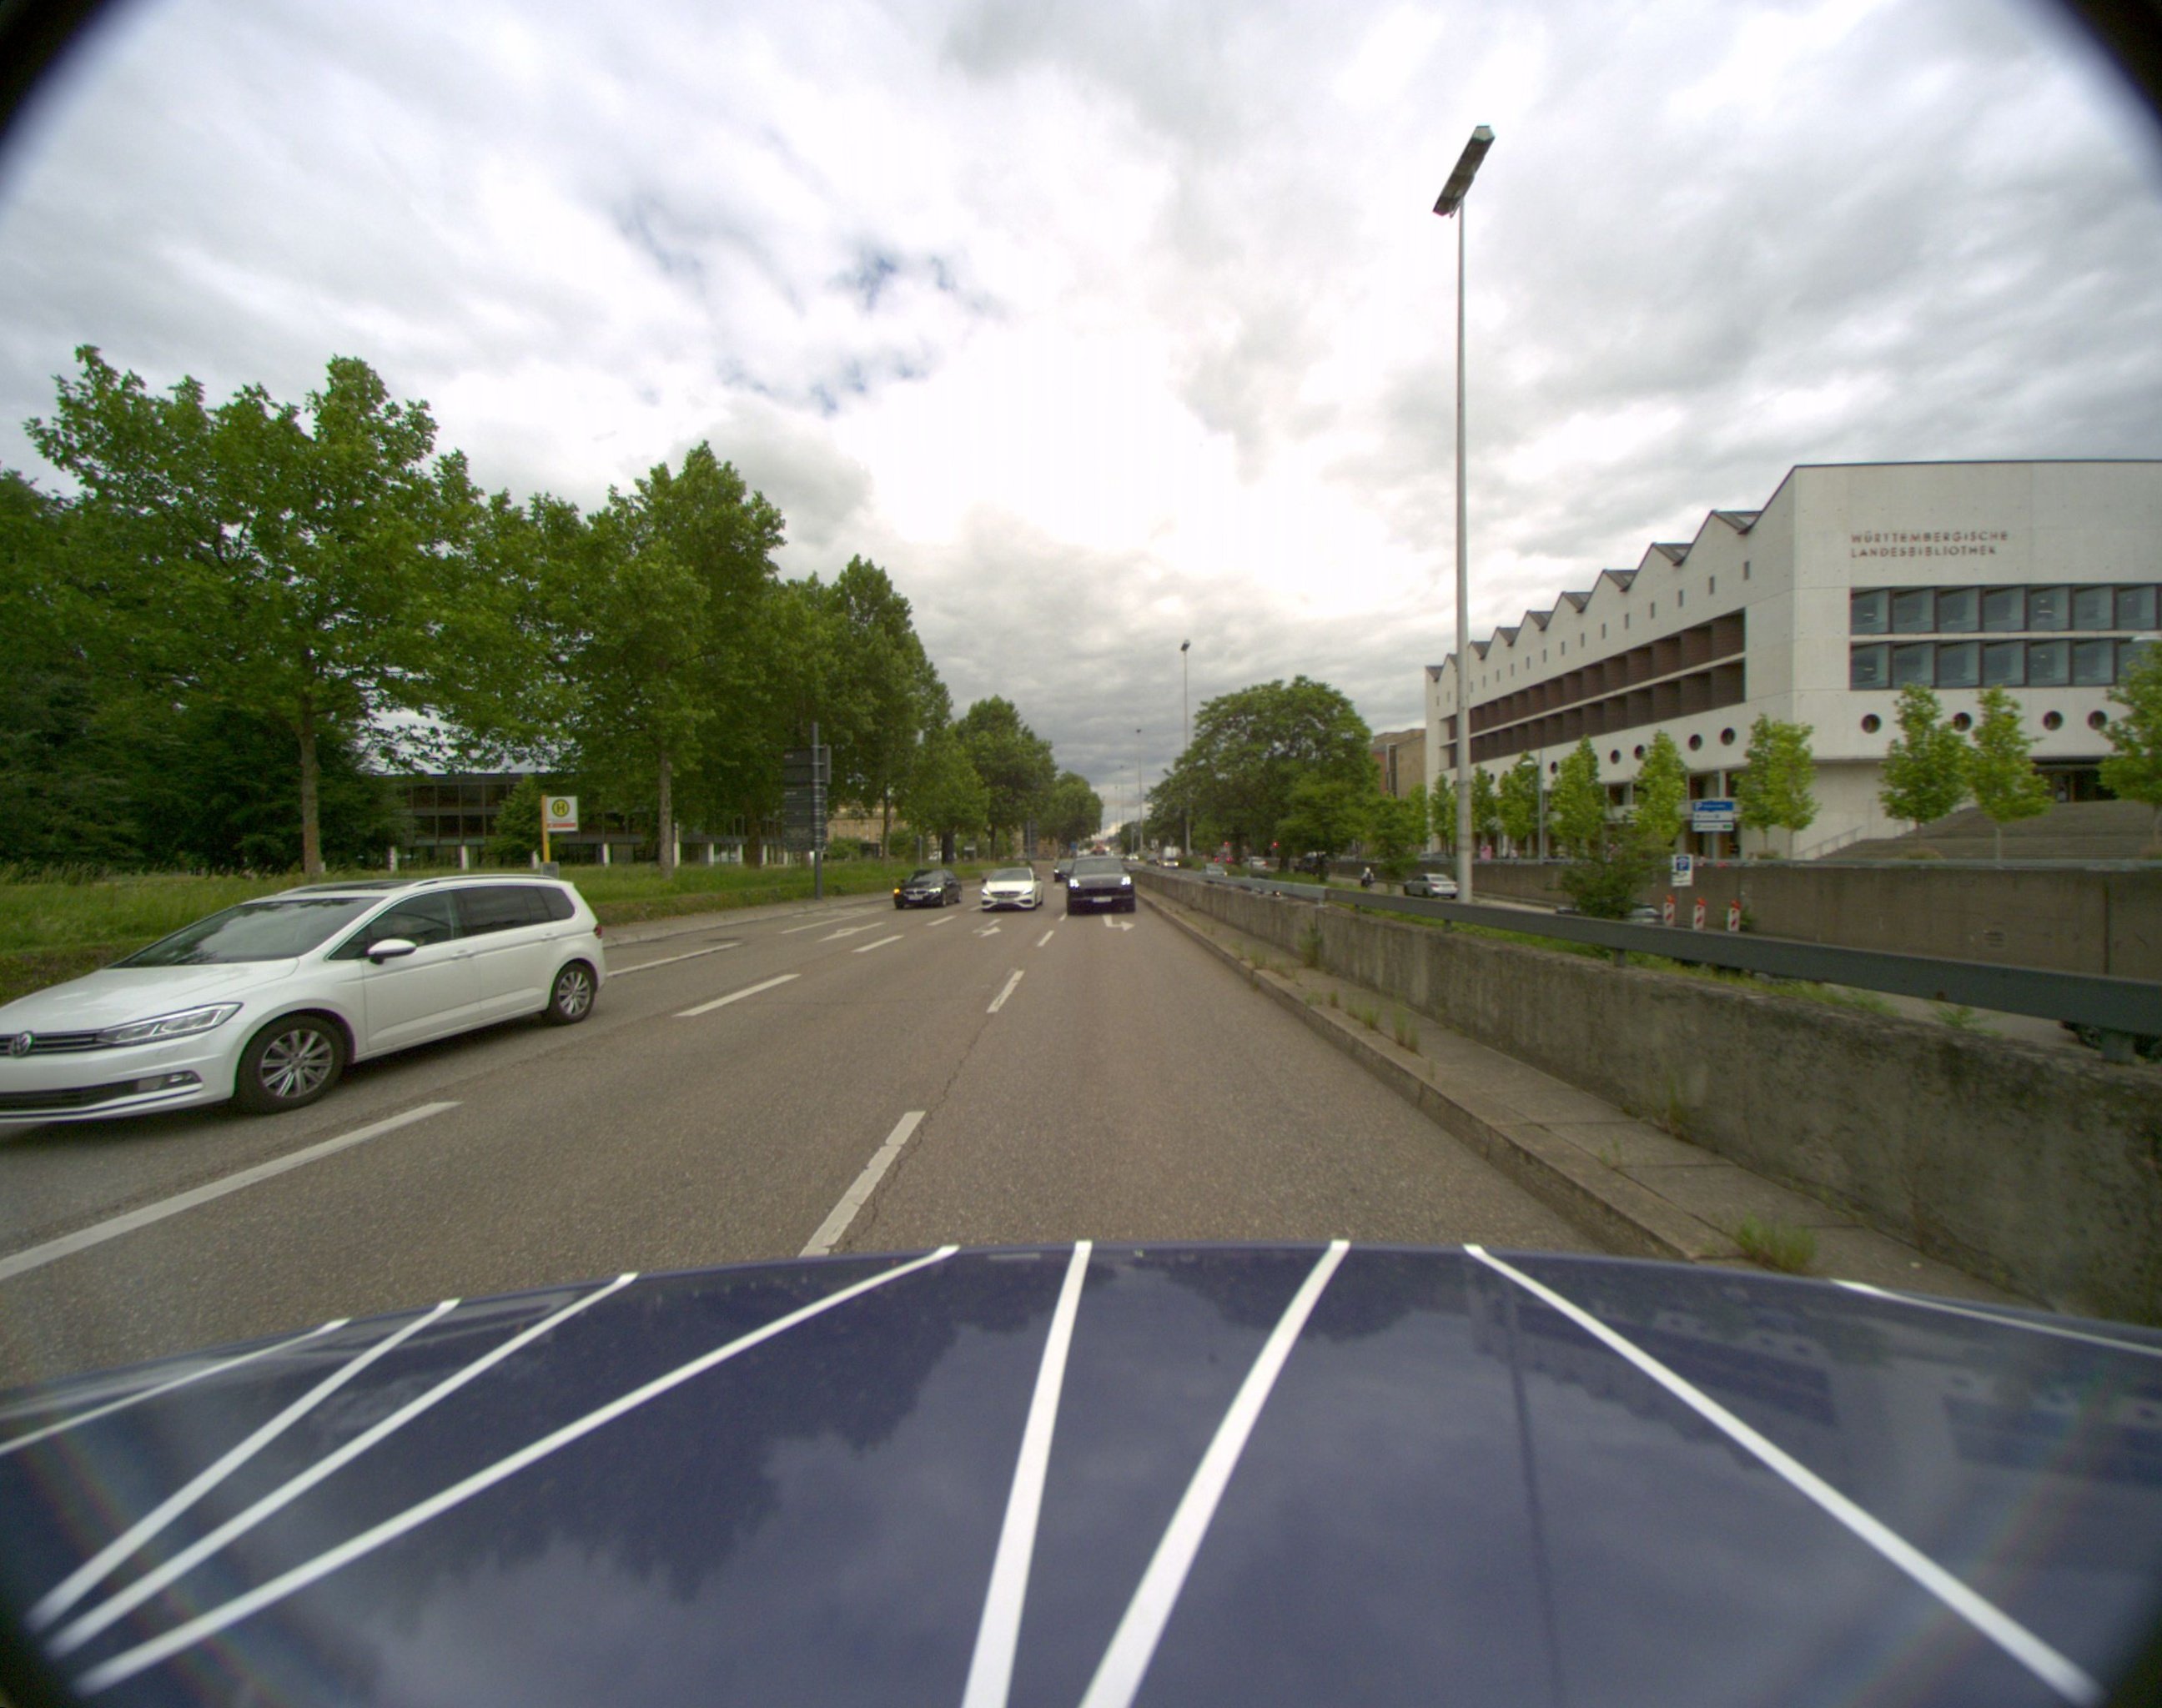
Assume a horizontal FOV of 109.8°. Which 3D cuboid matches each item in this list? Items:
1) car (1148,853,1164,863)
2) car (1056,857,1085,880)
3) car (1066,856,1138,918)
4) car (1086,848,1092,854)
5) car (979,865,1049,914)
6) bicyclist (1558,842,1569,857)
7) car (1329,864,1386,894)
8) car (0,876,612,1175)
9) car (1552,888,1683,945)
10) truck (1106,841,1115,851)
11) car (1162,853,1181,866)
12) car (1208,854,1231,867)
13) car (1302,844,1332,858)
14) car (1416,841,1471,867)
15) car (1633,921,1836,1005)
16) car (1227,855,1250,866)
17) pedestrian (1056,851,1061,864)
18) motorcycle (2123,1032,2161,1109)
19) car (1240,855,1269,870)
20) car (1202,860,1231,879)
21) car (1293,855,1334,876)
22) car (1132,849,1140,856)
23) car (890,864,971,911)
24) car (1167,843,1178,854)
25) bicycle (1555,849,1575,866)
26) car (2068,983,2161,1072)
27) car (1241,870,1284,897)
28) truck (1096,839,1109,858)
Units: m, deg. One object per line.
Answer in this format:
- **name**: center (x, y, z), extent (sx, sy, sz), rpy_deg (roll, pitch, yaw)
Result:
- **car**: center (10.643, 0.545, 108.196), extent (1.787, 1.406, 4.092), rpy_deg (-2, 0, 0)
- **car**: center (-0.702, 1.034, 54.386), extent (1.852, 1.481, 4.092), rpy_deg (-2, 0, 2)
- **car**: center (0.688, 0.905, 22.730), extent (1.904, 1.580, 4.733), rpy_deg (-2, 0, 3)
- **car**: center (2.590, -0.994, 249.011), extent (1.693, 2.002, 4.000), rpy_deg (-3, 1, 2)
- **car**: center (-2.225, 1.153, 26.265), extent (1.799, 1.411, 4.527), rpy_deg (-2, 0, 2)
- **bicyclist**: center (37.573, -0.363, 59.212), extent (0.403, 1.153, 0.643), rpy_deg (-3, 1, -1)
- **car**: center (17.682, 1.558, 48.852), extent (1.998, 1.665, 4.517), rpy_deg (2, 0, 0)
- **car**: center (-6.495, 1.098, 6.675), extent (1.998, 1.630, 4.304), rpy_deg (-2, 0, 0)
- **car**: center (20.570, 2.338, 29.390), extent (1.874, 1.604, 4.388), rpy_deg (0, 3, -1)
- **truck**: center (9.940, -2.717, 255.000), extent (2.576, 3.288, 8.080), rpy_deg (-3, 1, 2)
- **car**: center (10.640, 0.593, 89.467), extent (1.657, 1.406, 4.092), rpy_deg (-2, 0, 0)
- **car**: center (16.313, 0.762, 89.491), extent (1.998, 1.390, 4.000), rpy_deg (2, 0, 0)
- **car**: center (28.192, -0.355, 91.001), extent (1.955, 1.619, 4.489), rpy_deg (-2, 0, -3)
- **car**: center (25.971, -0.013, 54.527), extent (1.998, 1.753, 4.000), rpy_deg (1, 0, 0)
- **car**: center (17.143, 2.794, 20.265), extent (1.779, 1.481, 4.144), rpy_deg (0, 3, -1)
- **car**: center (20.650, 0.845, 99.774), extent (1.999, 1.390, 3.999), rpy_deg (2, 0, -2)
- **pedestrian**: center (-3.486, 0.503, 118.128), extent (0.792, 2.001, 0.741), rpy_deg (-1, -1, 2)
- **motorcycle**: center (17.237, 3.473, 11.252), extent (0.687, 1.092, 2.050), rpy_deg (2, 3, 0)
- **car**: center (17.039, 0.841, 74.848), extent (1.998, 1.390, 4.000), rpy_deg (2, 0, 0)
- **car**: center (10.907, 1.214, 61.479), extent (1.559, 1.406, 4.092), rpy_deg (-2, 0, -1)
- **car**: center (20.669, 1.019, 67.818), extent (2.161, 1.635, 4.515), rpy_deg (1, 2, -1)
- **car**: center (11.015, -0.250, 151.993), extent (1.372, 1.390, 3.722), rpy_deg (2, 0, 0)
- **car**: center (-5.707, 1.227, 29.336), extent (1.936, 1.451, 4.527), rpy_deg (-3, 1, 3)
- **car**: center (17.188, -1.068, 142.976), extent (1.609, 1.844, 4.000), rpy_deg (-3, 1, 1)
- **bicycle**: center (37.612, 0.272, 59.093), extent (0.403, 1.265, 1.699), rpy_deg (-3, 1, -1)
- **car**: center (20.297, 3.282, 12.884), extent (1.810, 1.321, 4.003), rpy_deg (0, 3, -1)
- **car**: center (10.917, 1.726, 45.899), extent (1.559, 1.406, 4.092), rpy_deg (-2, 0, 0)
- **truck**: center (4.339, -1.137, 154.486), extent (2.357, 3.517, 9.425), rpy_deg (-3, 1, 2)
